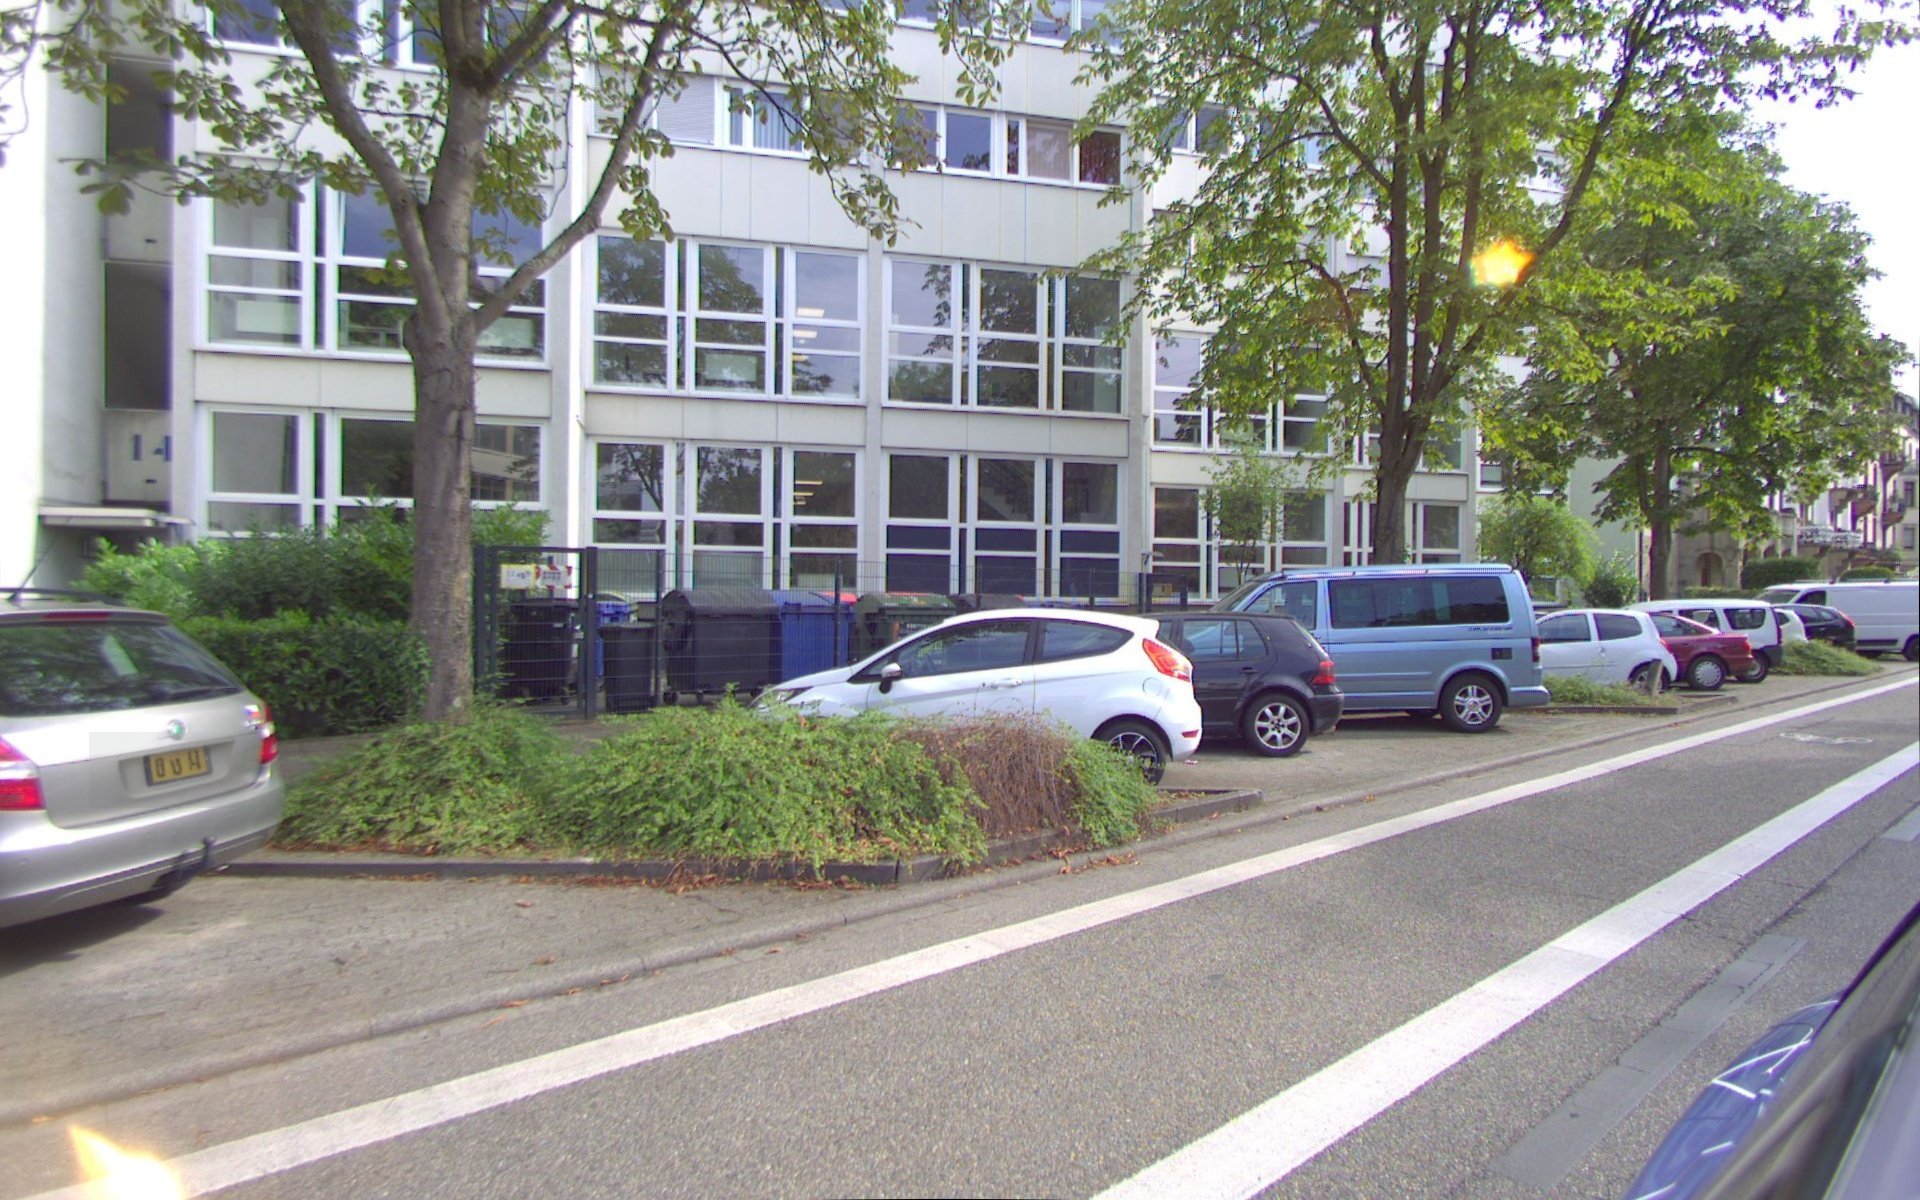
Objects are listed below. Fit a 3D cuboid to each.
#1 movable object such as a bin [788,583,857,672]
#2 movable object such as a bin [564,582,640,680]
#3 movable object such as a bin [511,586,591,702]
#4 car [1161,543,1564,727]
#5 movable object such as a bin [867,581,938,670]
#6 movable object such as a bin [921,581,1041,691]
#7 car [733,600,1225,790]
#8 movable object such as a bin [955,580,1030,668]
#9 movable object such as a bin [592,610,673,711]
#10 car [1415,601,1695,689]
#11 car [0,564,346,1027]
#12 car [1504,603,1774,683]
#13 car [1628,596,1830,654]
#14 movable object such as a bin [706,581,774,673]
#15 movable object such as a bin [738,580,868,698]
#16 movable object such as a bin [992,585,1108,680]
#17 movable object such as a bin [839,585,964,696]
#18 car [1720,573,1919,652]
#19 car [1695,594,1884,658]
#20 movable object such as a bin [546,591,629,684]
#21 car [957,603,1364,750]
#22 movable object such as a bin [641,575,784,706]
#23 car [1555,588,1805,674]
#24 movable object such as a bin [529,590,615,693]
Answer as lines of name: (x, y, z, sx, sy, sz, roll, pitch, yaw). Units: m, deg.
movable object such as a bin: (-2.505, 0.475, 18.305, 1.150, 1.533, 1.182, 0, 0, -11)
movable object such as a bin: (-6.031, 0.494, 17.096, 1.155, 1.588, 1.177, 0, 0, -18)
movable object such as a bin: (-5.278, 0.541, 13.114, 0.893, 1.425, 1.026, 0, 0, -18)
car: (4.812, 0.379, 12.685, 4.269, 2.090, 1.997, 0, 0, 5)
movable object such as a bin: (-1.083, 0.448, 18.688, 1.150, 1.588, 1.182, 0, 0, -11)
movable object such as a bin: (0.318, 0.520, 15.698, 1.328, 1.616, 1.335, 0, 0, -36)
car: (0.163, 0.714, 8.611, 3.793, 1.410, 1.632, 0, 0, 5)
movable object such as a bin: (0.589, 0.433, 18.976, 1.150, 1.588, 1.182, 0, 0, -11)
movable object such as a bin: (-3.882, 0.692, 11.988, 0.729, 1.119, 0.786, 0, 0, -34)
car: (9.788, 0.701, 16.892, 3.581, 1.347, 1.765, 0, 1, 5)
car: (-5.075, 0.655, 4.388, 3.981, 1.557, 1.593, 0, 0, 5)
car: (12.442, 0.757, 18.771, 3.708, 1.355, 1.810, 0, 1, 9)
car: (18.998, 0.594, 25.152, 3.581, 1.347, 1.765, 0, 1, 5)
movable object such as a bin: (-3.939, 0.472, 18.174, 1.150, 1.588, 1.182, 0, 0, -11)
movable object such as a bin: (-2.177, 0.497, 13.986, 1.312, 1.523, 1.335, 0, 0, -36)
movable object such as a bin: (1.475, 0.501, 16.692, 1.374, 1.477, 1.335, 0, 0, -36)
movable object such as a bin: (-0.862, 0.550, 14.853, 1.328, 1.521, 1.335, 0, 0, -36)
car: (25.578, 0.328, 29.260, 5.350, 2.203, 2.143, 0, 0, 9)
car: (22.363, 0.647, 27.457, 3.606, 1.609, 1.753, 0, 1, 25)
movable object such as a bin: (-5.769, 0.554, 15.744, 1.155, 1.387, 1.177, 0, 0, -18)
car: (1.988, 0.752, 10.772, 3.902, 1.405, 1.812, 0, -1, 5)
movable object such as a bin: (-3.177, 0.475, 12.968, 1.389, 1.549, 1.330, 0, 0, -36)
car: (14.577, 0.582, 20.691, 3.708, 1.638, 1.810, 0, 1, 9)
movable object such as a bin: (-5.502, 0.561, 14.431, 1.095, 1.409, 1.065, 0, 0, -18)
